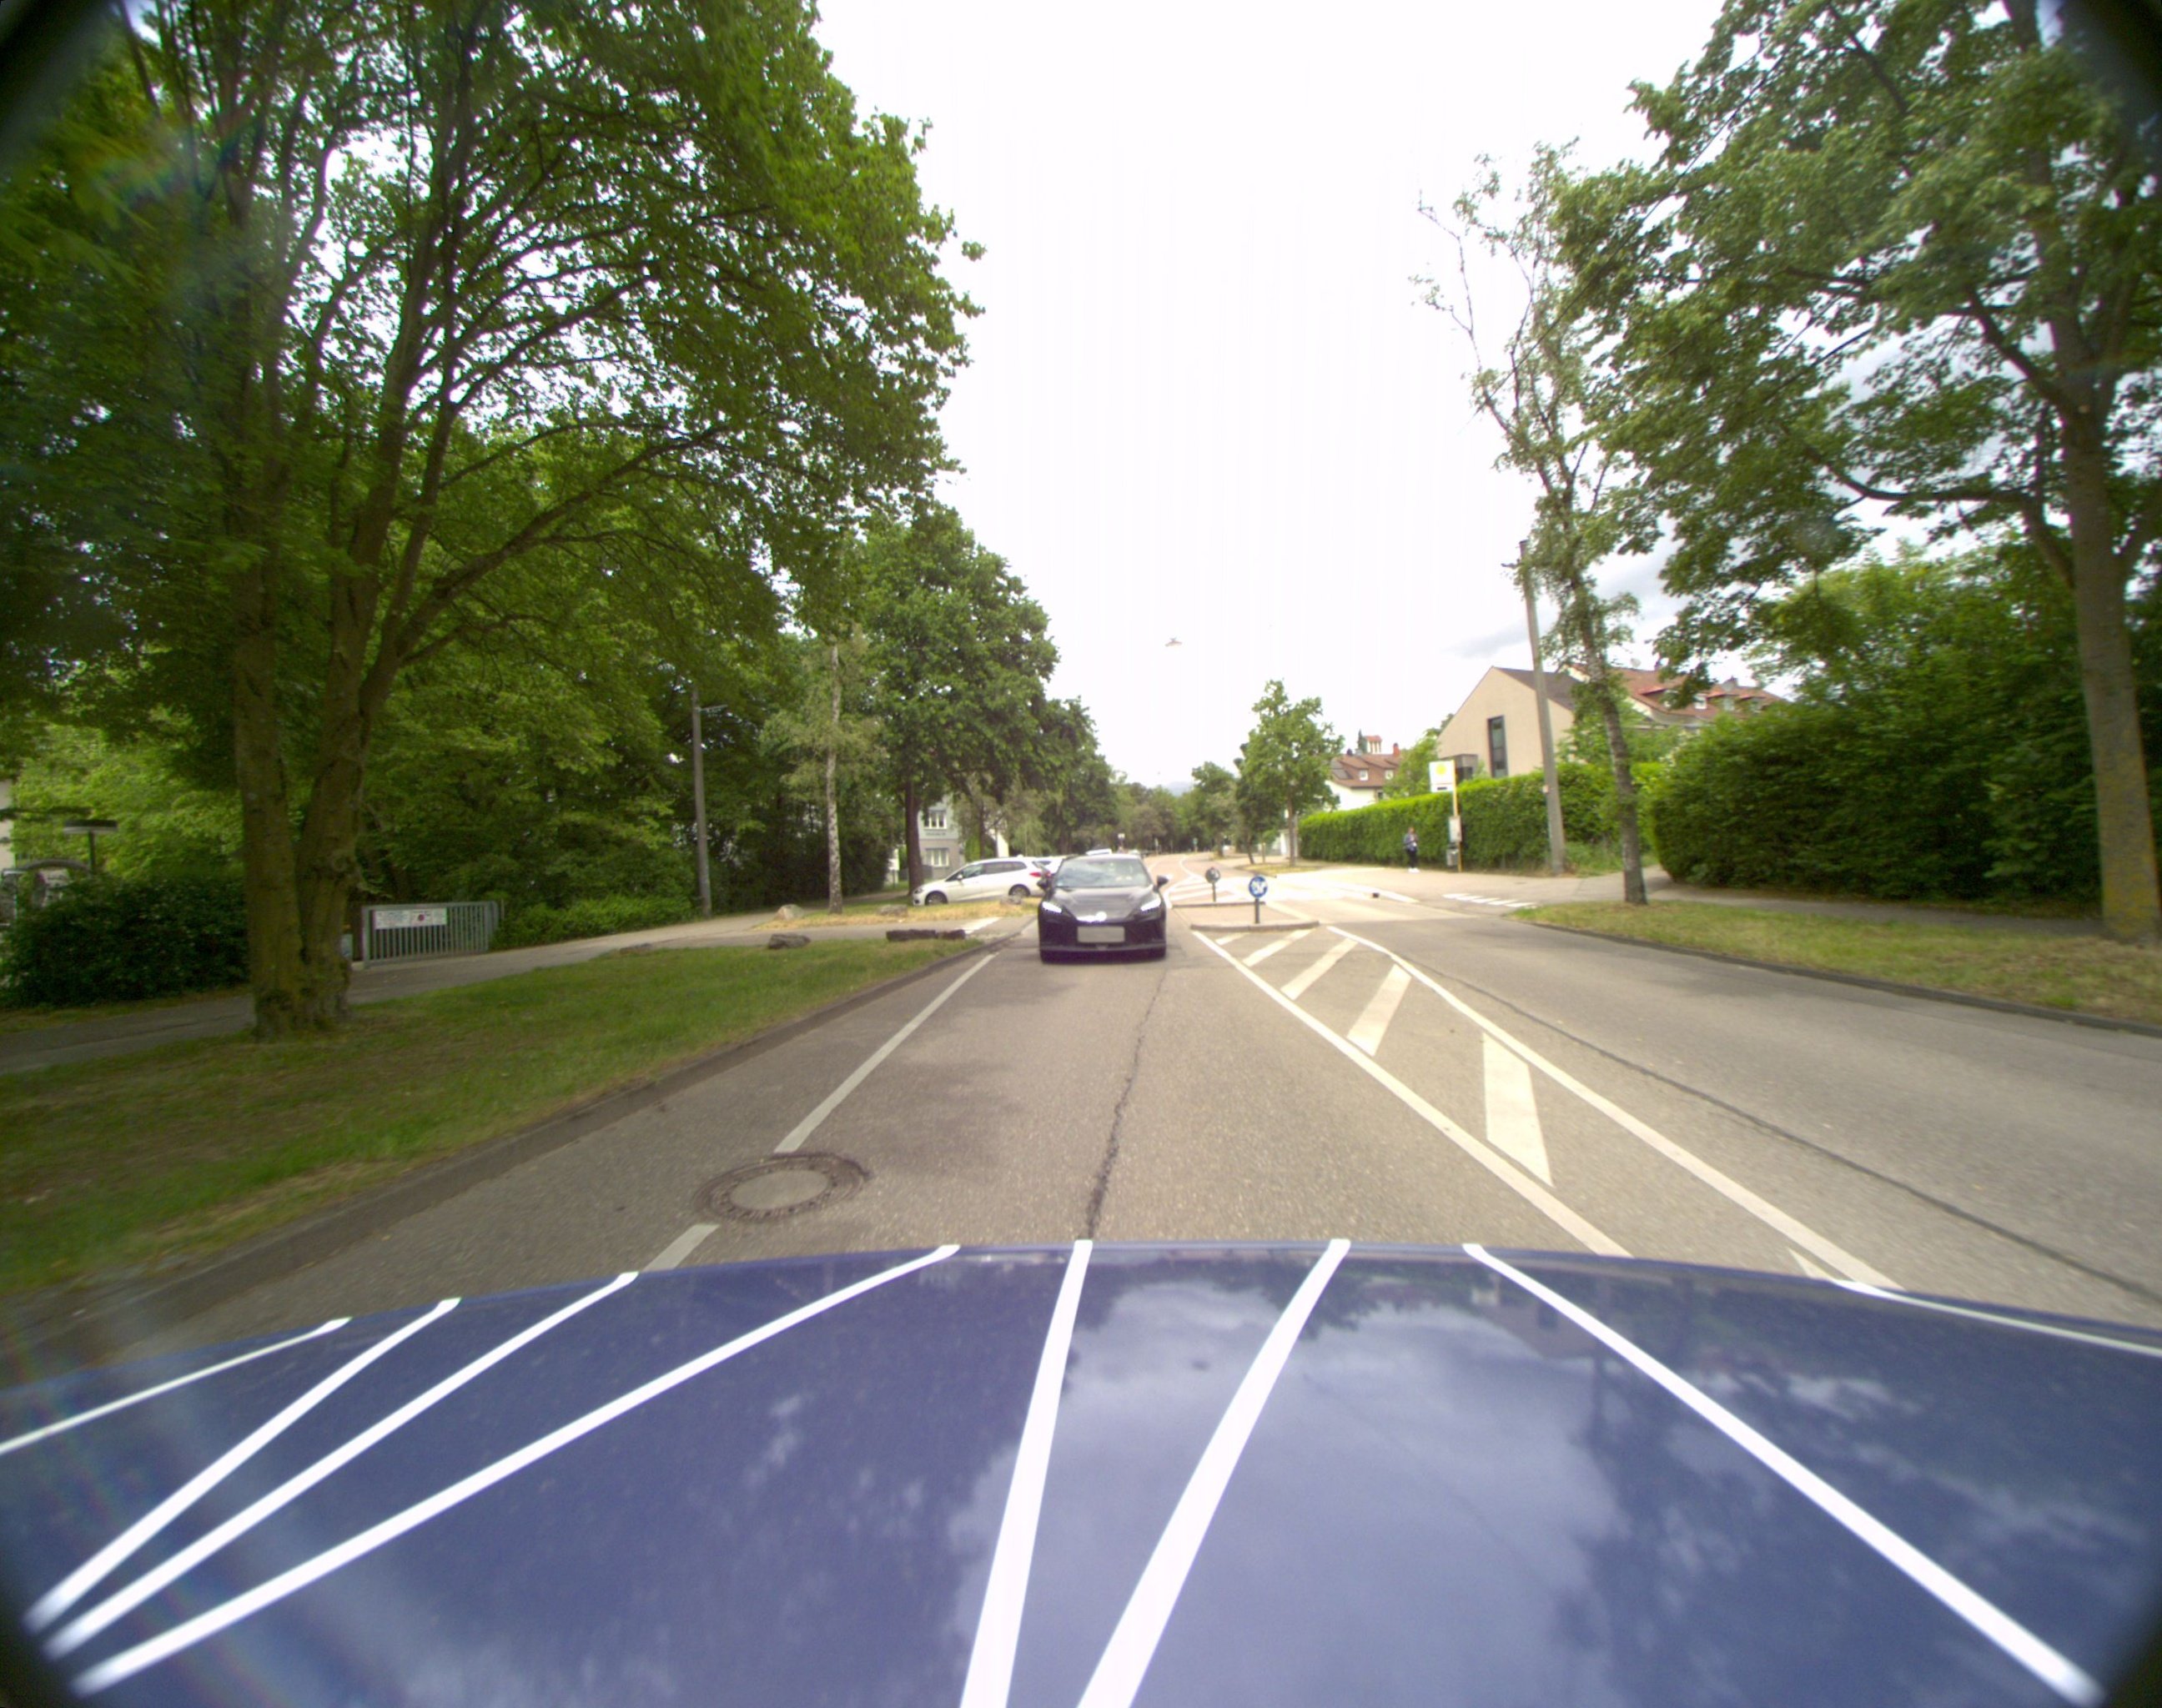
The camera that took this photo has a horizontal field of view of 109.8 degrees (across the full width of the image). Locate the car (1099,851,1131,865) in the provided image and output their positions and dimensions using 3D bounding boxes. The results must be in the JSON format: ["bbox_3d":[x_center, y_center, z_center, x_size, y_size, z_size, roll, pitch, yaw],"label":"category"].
[{"bbox_3d":[4.457,0.574,99.728,3.858,1.603,1.653,-3,0,-12],"label":"car"}]

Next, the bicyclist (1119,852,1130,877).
[{"bbox_3d":[3.134,0.770,55.373,0.647,1.769,0.628,-3,1,-4],"label":"bicyclist"}]

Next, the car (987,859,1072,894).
[{"bbox_3d":[-2.659,1.136,39.061,4.001,1.455,1.864,-5,1,-15],"label":"car"}]

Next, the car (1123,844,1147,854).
[{"bbox_3d":[8.864,-0.800,124.733,3.855,1.378,1.655,-5,1,0],"label":"car"}]

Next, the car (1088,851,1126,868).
[{"bbox_3d":[2.780,0.589,82.632,3.856,1.426,1.654,-5,1,-6],"label":"car"}]

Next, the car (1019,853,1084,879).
[{"bbox_3d":[-2.012,0.832,52.215,4.002,1.455,1.789,-5,1,-19],"label":"car"}]

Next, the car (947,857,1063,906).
[{"bbox_3d":[-2.929,1.015,29.031,4.147,1.455,1.796,-5,1,-11],"label":"car"}]

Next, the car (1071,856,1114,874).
[{"bbox_3d":[1.111,1.038,73.851,3.856,1.430,1.715,-5,1,-6],"label":"car"}]

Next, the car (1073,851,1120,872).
[{"bbox_3d":[1.563,0.724,76.990,4.224,1.748,1.857,-5,1,-17],"label":"car"}]

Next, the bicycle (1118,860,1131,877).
[{"bbox_3d":[3.162,1.049,55.332,0.648,1.230,1.877,-3,0,-3],"label":"bicycle"}]

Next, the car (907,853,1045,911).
[{"bbox_3d":[-3.569,0.935,26.379,4.481,1.576,1.906,-5,1,-5],"label":"car"}]

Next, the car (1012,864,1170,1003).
[{"bbox_3d":[0.333,0.991,10.978,1.812,1.484,3.795,-3,1,7],"label":"car"}]

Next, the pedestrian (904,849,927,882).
[{"bbox_3d":[-8.493,0.607,38.970,0.692,1.634,0.779,-3,1,26],"label":"pedestrian"}]

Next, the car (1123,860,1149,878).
[{"bbox_3d":[4.765,1.285,65.285,1.860,1.366,4.078,-3,0,8],"label":"car"}]

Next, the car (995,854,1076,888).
[{"bbox_3d":[-2.516,0.917,41.810,4.002,1.455,1.793,-5,1,-17],"label":"car"}]

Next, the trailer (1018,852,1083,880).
[{"bbox_3d":[-2.014,0.764,49.657,4.000,1.543,1.657,-4,0,-11],"label":"trailer"}]

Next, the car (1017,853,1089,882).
[{"bbox_3d":[-1.762,0.834,47.306,4.003,1.455,1.848,-5,1,-21],"label":"car"}]

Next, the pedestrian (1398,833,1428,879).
[{"bbox_3d":[12.682,0.076,29.051,0.693,1.701,0.778,-4,1,-2],"label":"pedestrian"}]
